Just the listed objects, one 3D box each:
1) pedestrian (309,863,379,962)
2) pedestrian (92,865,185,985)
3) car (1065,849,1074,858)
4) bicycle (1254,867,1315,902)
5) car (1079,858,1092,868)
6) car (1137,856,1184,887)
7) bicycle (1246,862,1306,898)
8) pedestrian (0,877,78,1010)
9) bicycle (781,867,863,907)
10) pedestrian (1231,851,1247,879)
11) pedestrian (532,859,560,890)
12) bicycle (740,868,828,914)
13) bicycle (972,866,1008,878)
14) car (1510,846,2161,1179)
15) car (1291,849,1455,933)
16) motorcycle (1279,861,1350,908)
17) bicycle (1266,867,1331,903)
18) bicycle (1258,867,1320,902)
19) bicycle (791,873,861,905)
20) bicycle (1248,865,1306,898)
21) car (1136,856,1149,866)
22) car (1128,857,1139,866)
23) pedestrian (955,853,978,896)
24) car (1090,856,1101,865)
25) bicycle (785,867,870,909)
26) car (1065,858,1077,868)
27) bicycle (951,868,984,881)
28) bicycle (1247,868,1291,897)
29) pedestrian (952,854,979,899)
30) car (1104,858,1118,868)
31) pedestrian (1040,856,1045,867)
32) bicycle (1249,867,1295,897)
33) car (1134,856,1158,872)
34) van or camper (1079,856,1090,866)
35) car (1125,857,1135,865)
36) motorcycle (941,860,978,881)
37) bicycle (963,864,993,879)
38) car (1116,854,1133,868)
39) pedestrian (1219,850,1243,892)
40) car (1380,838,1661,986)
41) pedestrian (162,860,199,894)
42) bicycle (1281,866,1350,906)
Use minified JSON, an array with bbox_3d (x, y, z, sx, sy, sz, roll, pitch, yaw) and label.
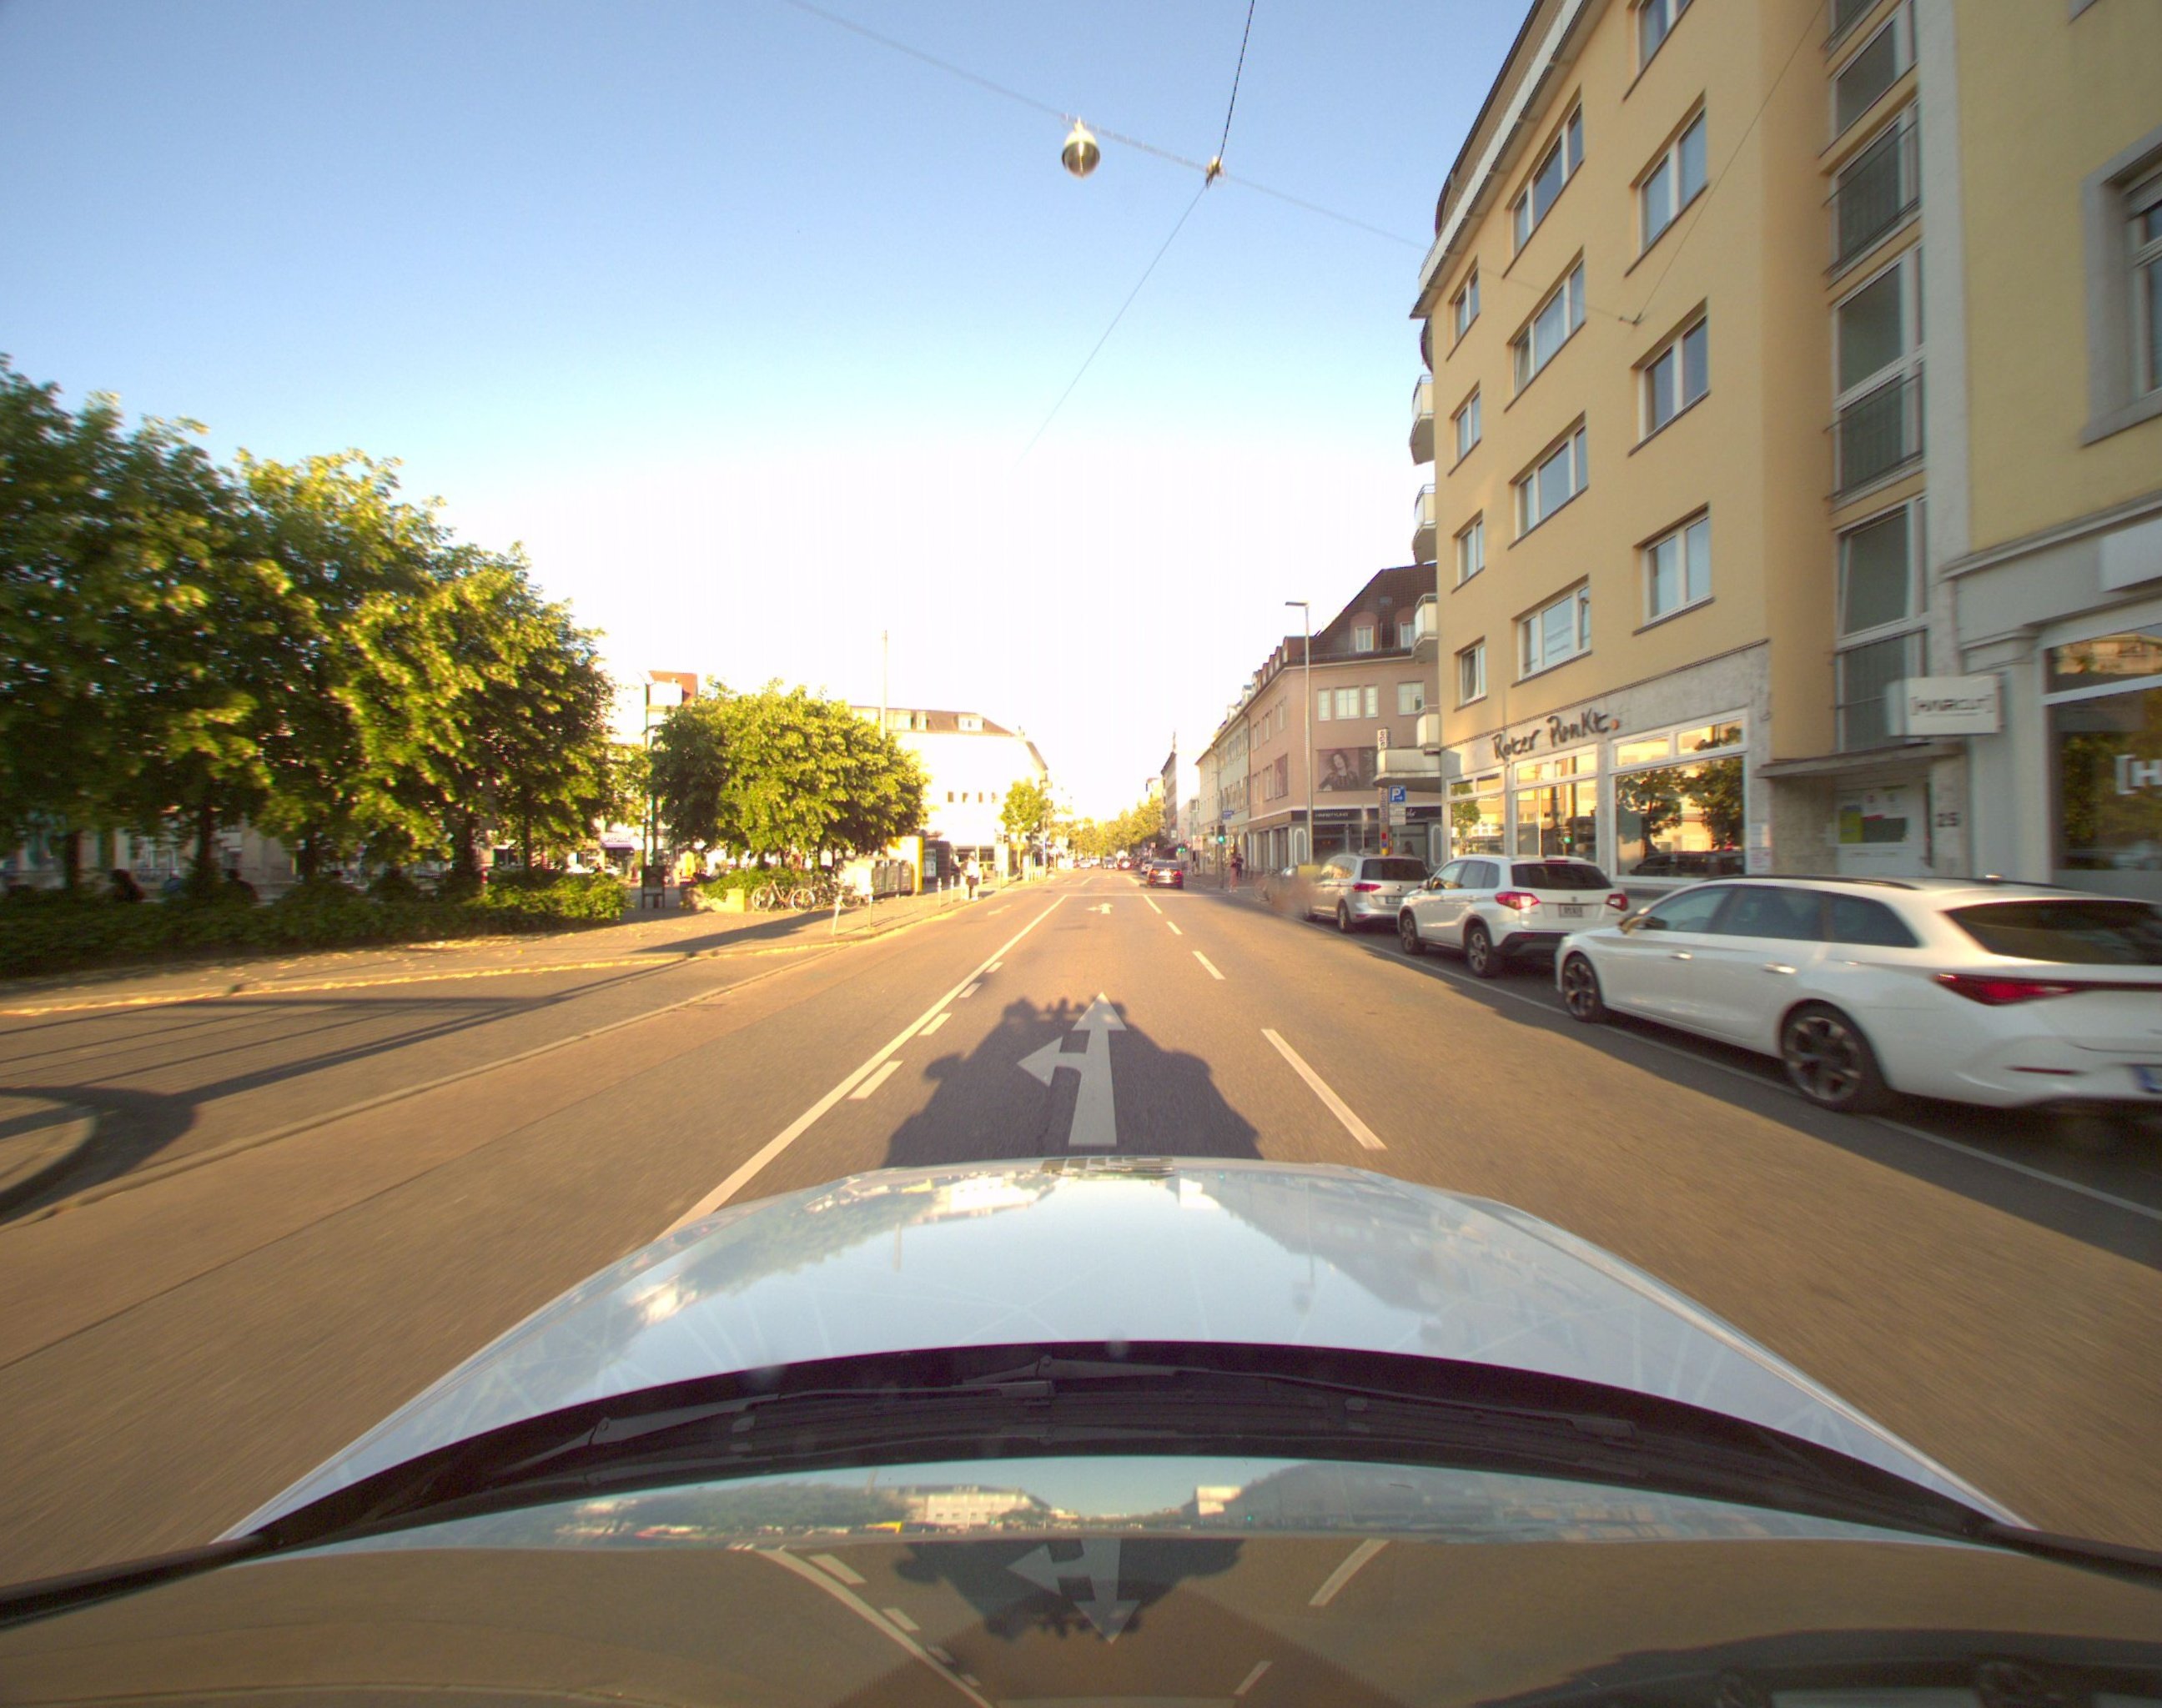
[{"bbox_3d":[-14.904,1.156,16.477,0.796,1.948,0.733,-1,0,15],"label":"pedestrian"},{"bbox_3d":[-15.777,1.157,13.647,0.796,1.948,0.733,-1,0,15],"label":"pedestrian"},{"bbox_3d":[-2.659,-0.138,191.332,1.820,2.013,3.679,0,0,4],"label":"car"},{"bbox_3d":[6.734,1.009,26.966,1.878,1.112,0.601,0,0,-1],"label":"bicycle"},{"bbox_3d":[0.773,1.509,131.663,1.886,1.596,4.004,0,0,4],"label":"car"},{"bbox_3d":[3.947,0.854,40.936,1.883,1.492,4.202,0,0,-1],"label":"car"},{"bbox_3d":[6.664,0.878,27.854,1.879,1.167,0.723,-1,0,-2],"label":"bicycle"},{"bbox_3d":[-16.173,1.330,12.489,0.796,1.948,0.733,-1,0,15],"label":"pedestrian"},{"bbox_3d":[-8.201,1.044,25.823,2.423,1.237,0.462,0,-1,0],"label":"bicycle"},{"bbox_3d":[10.190,0.699,52.483,0.755,1.777,1.047,0,0,-3],"label":"pedestrian"},{"bbox_3d":[-31.180,1.179,47.484,0.700,1.778,1.201,-1,-1,37],"label":"pedestrian"},{"bbox_3d":[-8.625,1.047,23.639,2.481,1.284,0.820,0,0,22],"label":"bicycle"},{"bbox_3d":[-7.693,1.512,69.204,2.928,1.022,0.844,-1,-1,4],"label":"bicycle"},{"bbox_3d":[5.527,0.747,6.342,2.007,1.543,4.873,-1,1,3],"label":"car"},{"bbox_3d":[6.266,0.733,18.149,1.987,1.613,4.804,-1,0,1],"label":"car"},{"bbox_3d":[6.725,0.869,23.515,1.807,1.263,0.716,-2,0,-1],"label":"motorcycle"},{"bbox_3d":[6.814,0.978,25.521,1.879,1.113,0.593,0,-2,-2],"label":"bicycle"},{"bbox_3d":[6.736,0.977,26.357,1.879,1.112,0.521,0,-1,-2],"label":"bicycle"},{"bbox_3d":[-8.269,1.129,26.411,2.036,0.971,0.636,2,0,0],"label":"bicycle"},{"bbox_3d":[6.877,0.957,28.655,1.879,1.112,0.762,0,0,-2],"label":"bicycle"},{"bbox_3d":[10.227,1.090,135.174,1.985,1.617,4.003,0,0,3],"label":"car"},{"bbox_3d":[10.501,1.494,162.962,1.775,1.596,3.633,0,0,-1],"label":"car"},{"bbox_3d":[-4.636,0.832,32.906,0.881,1.720,0.713,0,-1,-10],"label":"pedestrian"},{"bbox_3d":[2.854,1.295,156.001,1.985,1.750,4.004,0,0,3],"label":"car"},{"bbox_3d":[-7.800,1.034,25.130,2.423,1.237,0.517,1,-1,0],"label":"bicycle"},{"bbox_3d":[-1.797,1.593,144.262,1.886,1.596,4.004,0,0,4],"label":"car"},{"bbox_3d":[-8.363,1.495,60.071,2.320,0.919,0.701,-1,-1,-1],"label":"bicycle"},{"bbox_3d":[6.872,1.033,29.749,1.495,1.015,0.512,0,0,-1],"label":"bicycle"},{"bbox_3d":[-4.466,0.870,31.500,0.872,1.720,0.754,0,-1,-23],"label":"pedestrian"},{"bbox_3d":[4.270,1.274,116.464,1.876,1.486,4.004,0,0,4],"label":"car"},{"bbox_3d":[-5.844,1.167,123.281,0.600,1.721,0.575,0,0,-12],"label":"pedestrian"},{"bbox_3d":[6.859,0.990,29.260,1.496,1.026,0.512,-2,0,-3],"label":"bicycle"},{"bbox_3d":[6.606,0.976,83.694,2.325,1.604,3.896,0,0,2],"label":"car"},{"bbox_3d":[0.908,1.656,202.129,2.466,2.405,3.997,0,0,-2],"label":"van or camper"},{"bbox_3d":[10.618,1.522,175.783,1.888,1.596,3.998,0,0,-1],"label":"car"},{"bbox_3d":[-8.490,1.157,56.921,2.404,1.426,1.113,-1,-1,1],"label":"motorcycle"},{"bbox_3d":[-8.434,1.444,67.000,2.313,1.131,0.800,-1,-1,3],"label":"bicycle"},{"bbox_3d":[5.400,0.881,101.133,1.986,1.750,4.002,0,0,2],"label":"car"},{"bbox_3d":[6.274,0.706,34.119,0.793,1.720,0.810,0,0,-5],"label":"pedestrian"},{"bbox_3d":[6.068,0.652,11.949,1.861,1.762,4.410,-1,1,2],"label":"car"},{"bbox_3d":[-40.687,1.041,36.826,0.847,1.501,0.940,0,-1,-28],"label":"pedestrian"},{"bbox_3d":[7.015,0.948,24.397,1.879,1.112,0.593,-1,0,-2],"label":"bicycle"}]
